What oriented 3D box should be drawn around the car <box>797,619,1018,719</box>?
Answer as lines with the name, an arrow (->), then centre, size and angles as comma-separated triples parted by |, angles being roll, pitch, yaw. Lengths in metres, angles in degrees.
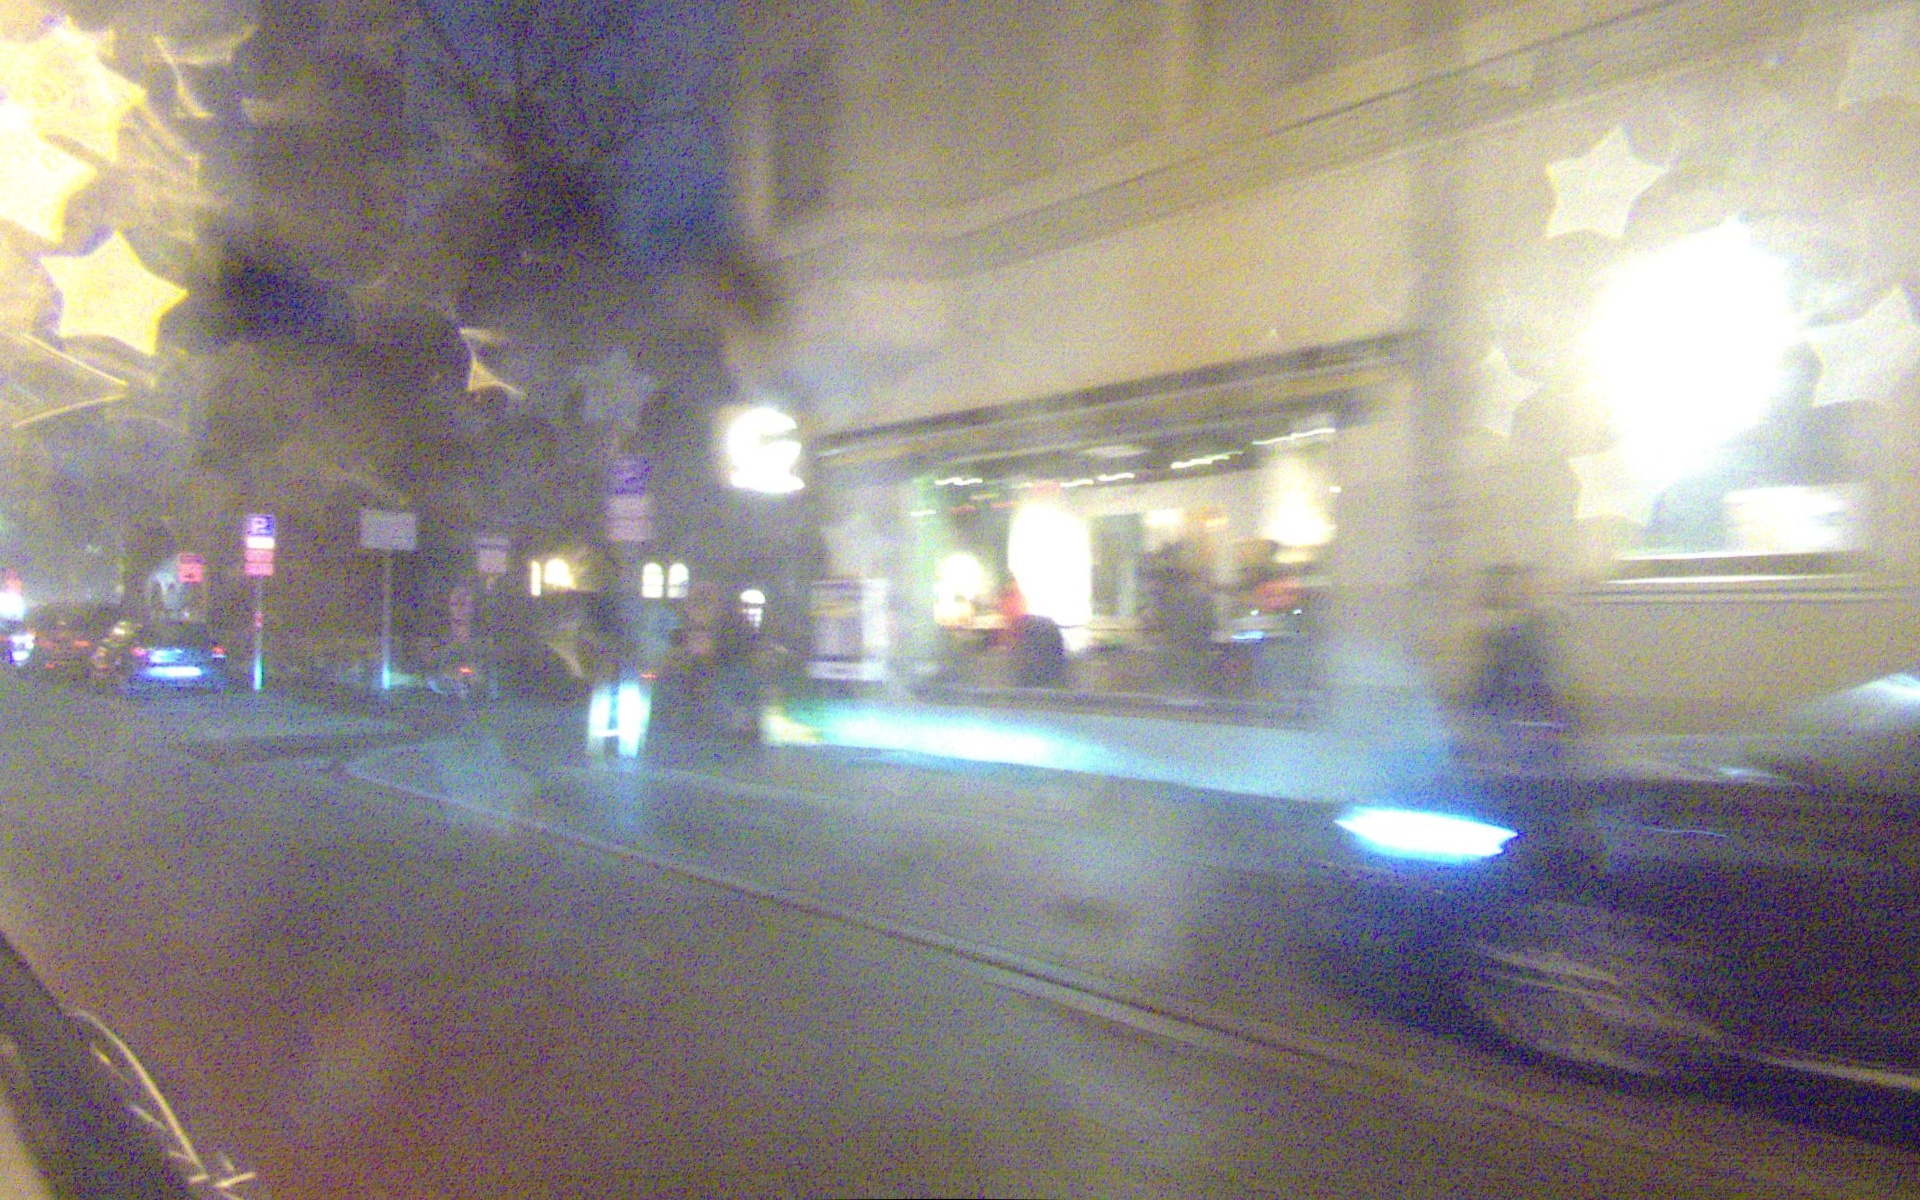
car -> -0.856, 1.150, 18.368 | 1.790, 1.550, 3.946 | -1, -1, 40

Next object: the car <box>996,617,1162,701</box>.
car -> 2.773, 1.262, 23.032 | 1.885, 1.693, 3.946 | -1, -1, 40

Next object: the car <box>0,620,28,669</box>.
car -> -34.577, 1.558, 36.148 | 1.791, 1.683, 4.414 | 1, -2, -44

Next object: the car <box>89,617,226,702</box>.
car -> -15.795, 1.104, 19.861 | 3.562, 1.453, 1.530 | -1, 0, 42

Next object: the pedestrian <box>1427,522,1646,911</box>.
pedestrian -> 3.077, 0.547, 5.373 | 0.787, 1.796, 1.120 | -2, -2, 41

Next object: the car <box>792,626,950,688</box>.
car -> -2.221, 1.404, 26.120 | 1.853, 1.460, 3.947 | -1, -1, 40

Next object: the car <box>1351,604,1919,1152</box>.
car -> 3.466, 0.691, 2.701 | 4.219, 1.369, 1.637 | -1, -1, 41

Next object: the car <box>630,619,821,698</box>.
car -> -5.111, 1.235, 22.435 | 1.715, 1.583, 3.893 | -1, -2, 40

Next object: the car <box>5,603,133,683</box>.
car -> -22.842, 1.070, 25.871 | 4.825, 1.860, 1.847 | -1, -2, 42
